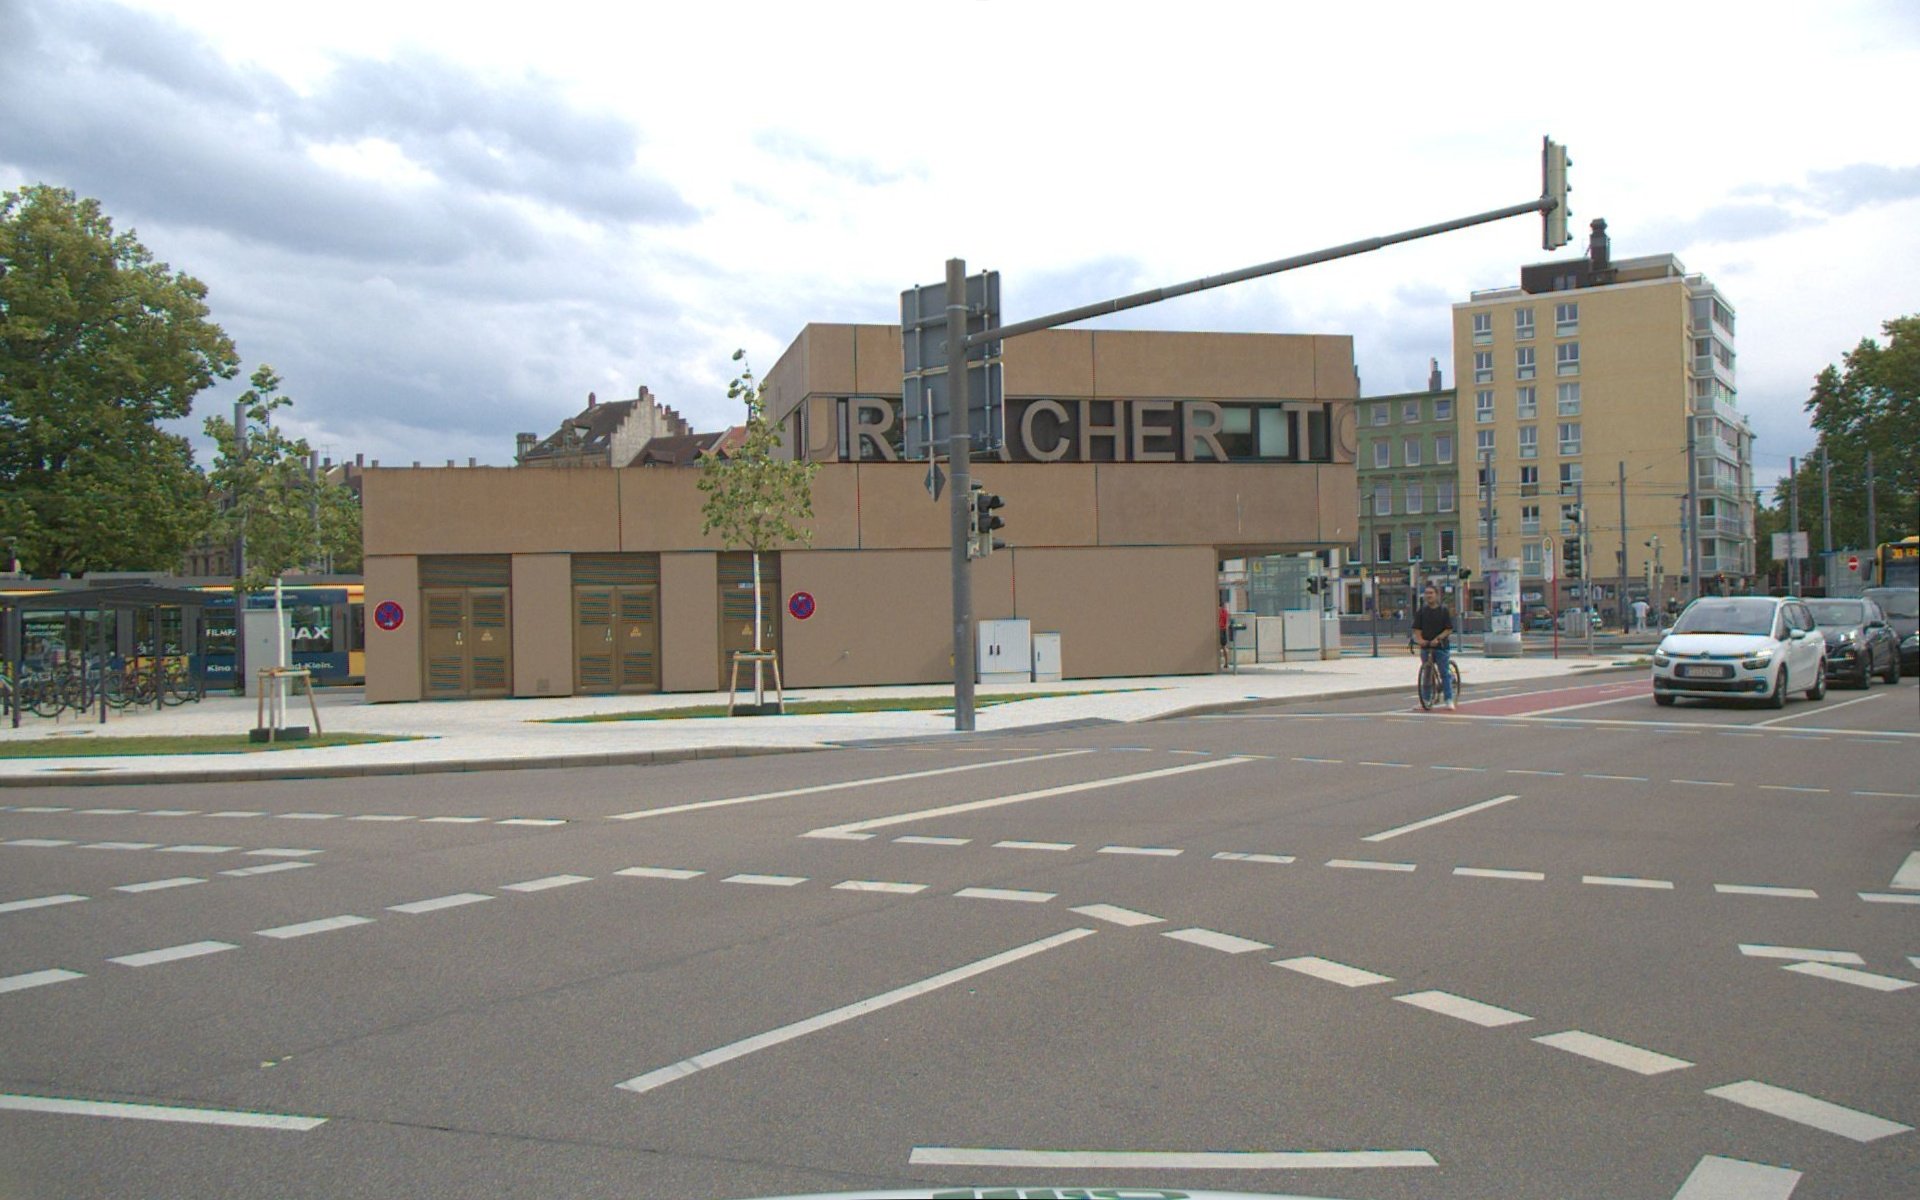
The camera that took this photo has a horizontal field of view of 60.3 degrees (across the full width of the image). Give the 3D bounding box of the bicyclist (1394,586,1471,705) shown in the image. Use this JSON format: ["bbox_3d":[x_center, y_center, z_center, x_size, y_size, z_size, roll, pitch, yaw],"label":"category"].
[{"bbox_3d":[6.928,0.650,24.232,0.851,1.698,0.878,0,-1,33],"label":"bicyclist"}]

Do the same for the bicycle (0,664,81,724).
[{"bbox_3d":[-18.965,1.905,33.535,1.933,1.176,0.580,1,-1,-23],"label":"bicycle"}]

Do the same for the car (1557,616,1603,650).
[{"bbox_3d":[39.334,2.075,104.834,1.958,2.049,3.989,0,-1,33],"label":"car"}]

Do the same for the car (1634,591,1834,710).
[{"bbox_3d":[12.162,0.745,25.847,1.961,1.680,4.271,0,-1,38],"label":"car"}]

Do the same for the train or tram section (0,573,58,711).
[{"bbox_3d":[-29.005,1.009,42.436,9.731,3.511,3.051,1,-1,-15],"label":"train or tram section"}]

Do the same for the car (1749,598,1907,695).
[{"bbox_3d":[16.516,0.849,31.365,1.961,1.680,4.271,0,-1,38],"label":"car"}]

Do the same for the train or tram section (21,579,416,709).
[{"bbox_3d":[-19.833,1.207,44.944,9.311,3.303,3.051,1,-1,-15],"label":"train or tram section"}]

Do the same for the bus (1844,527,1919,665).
[{"bbox_3d":[26.951,-0.005,44.791,3.098,3.312,12.352,0,-1,39],"label":"bus"}]

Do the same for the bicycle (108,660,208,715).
[{"bbox_3d":[-17.741,1.933,36.636,1.933,1.176,0.580,1,-1,-23],"label":"bicycle"}]

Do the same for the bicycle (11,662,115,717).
[{"bbox_3d":[-19.624,1.950,36.233,1.933,1.176,0.580,1,-1,-23],"label":"bicycle"}]

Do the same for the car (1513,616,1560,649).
[{"bbox_3d":[36.989,2.048,106.053,1.958,2.049,3.989,0,-1,33],"label":"car"}]

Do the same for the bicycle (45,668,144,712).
[{"bbox_3d":[-20.145,2.095,38.536,1.929,0.987,0.581,1,-1,-17],"label":"bicycle"}]

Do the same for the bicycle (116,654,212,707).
[{"bbox_3d":[-18.266,1.837,37.985,1.933,1.176,0.580,1,-1,-23],"label":"bicycle"}]

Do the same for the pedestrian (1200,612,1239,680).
[{"bbox_3d":[6.887,1.233,43.915,0.794,1.763,0.779,-2,-2,-7],"label":"pedestrian"}]

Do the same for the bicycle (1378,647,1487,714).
[{"bbox_3d":[6.962,1.156,24.295,0.847,0.892,2.512,0,-1,33],"label":"bicycle"}]

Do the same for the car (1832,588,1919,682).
[{"bbox_3d":[20.663,0.753,36.370,1.961,1.932,4.271,0,-1,38],"label":"car"}]
